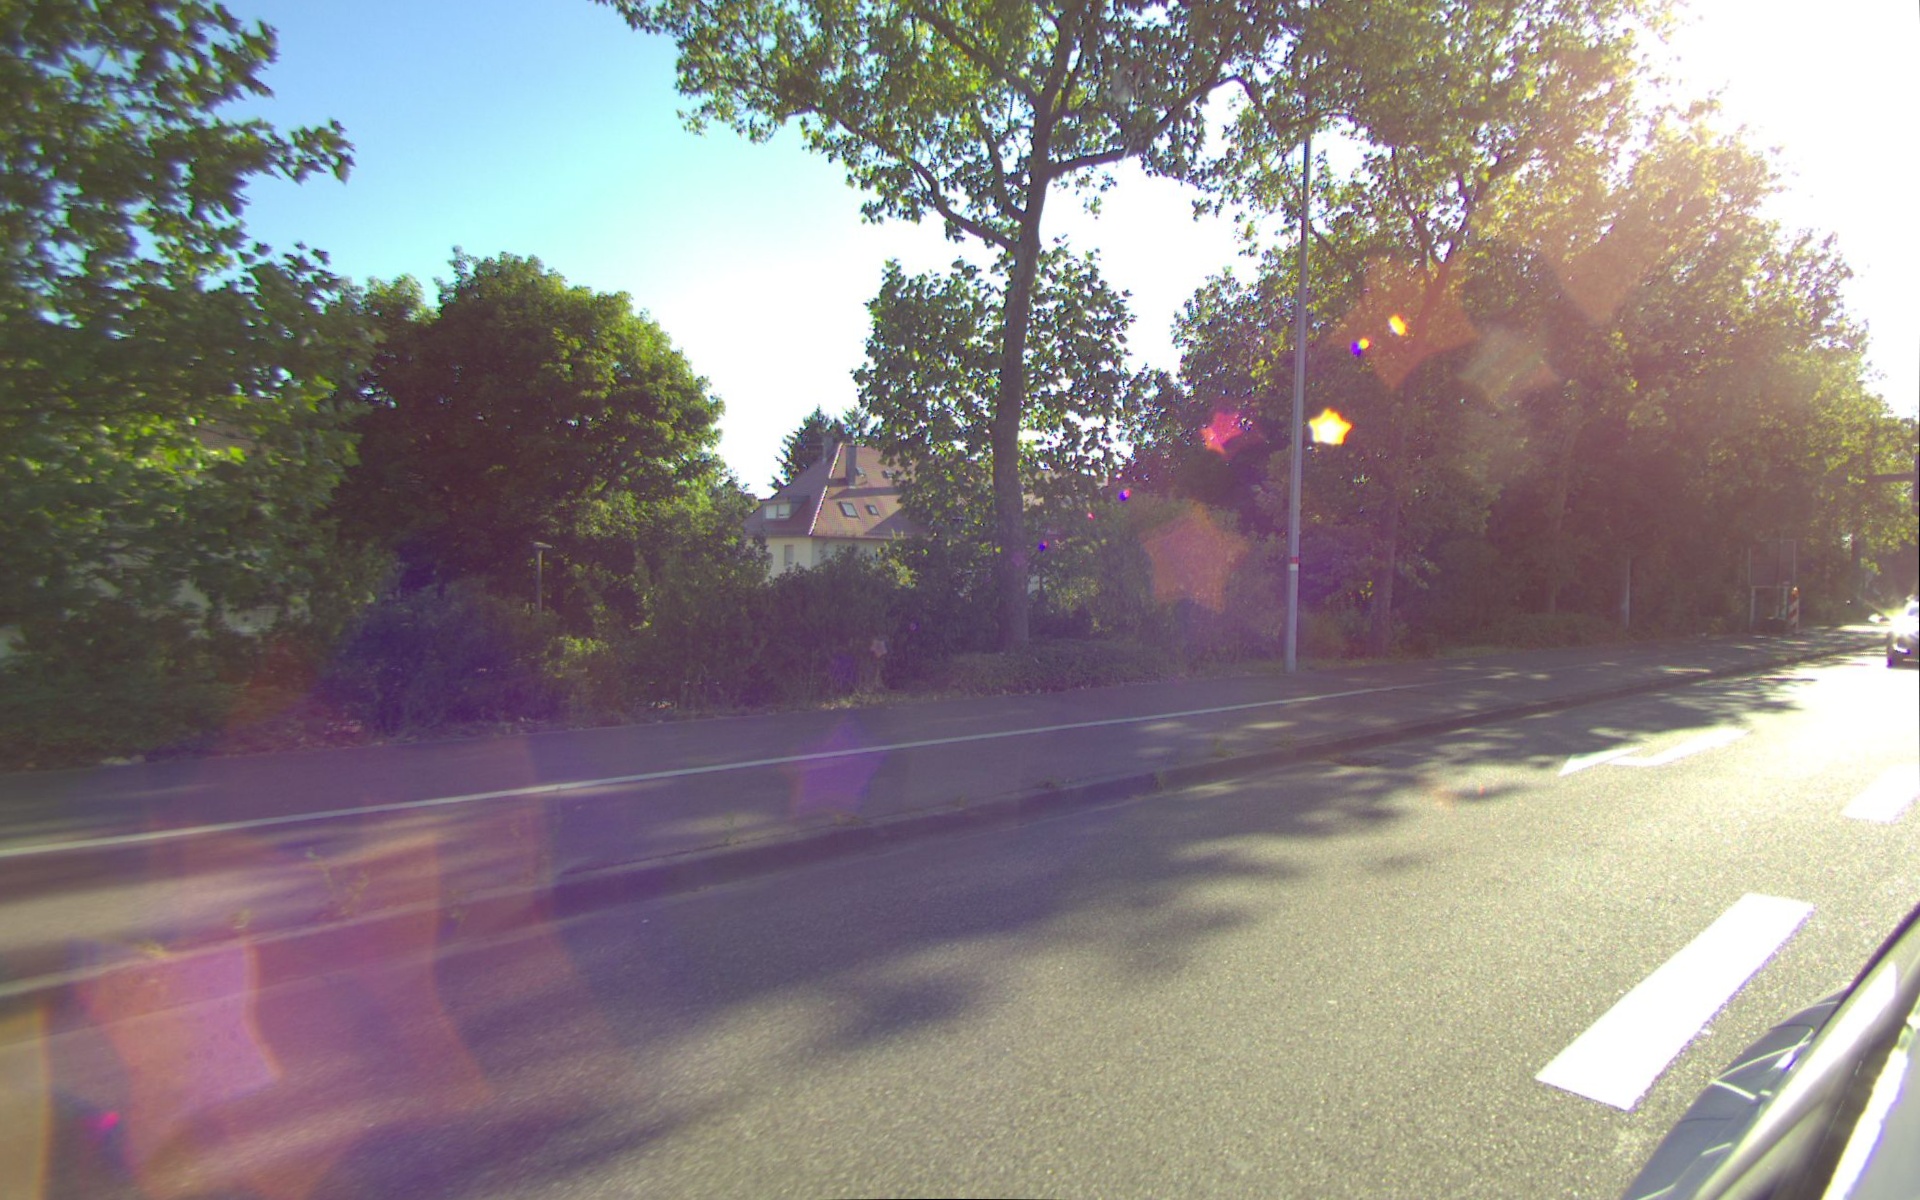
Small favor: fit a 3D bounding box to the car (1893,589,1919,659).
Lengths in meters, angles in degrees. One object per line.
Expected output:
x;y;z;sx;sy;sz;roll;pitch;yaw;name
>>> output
23.288;0.550;23.593;3.930;1.558;1.785;0;1;-41;car
